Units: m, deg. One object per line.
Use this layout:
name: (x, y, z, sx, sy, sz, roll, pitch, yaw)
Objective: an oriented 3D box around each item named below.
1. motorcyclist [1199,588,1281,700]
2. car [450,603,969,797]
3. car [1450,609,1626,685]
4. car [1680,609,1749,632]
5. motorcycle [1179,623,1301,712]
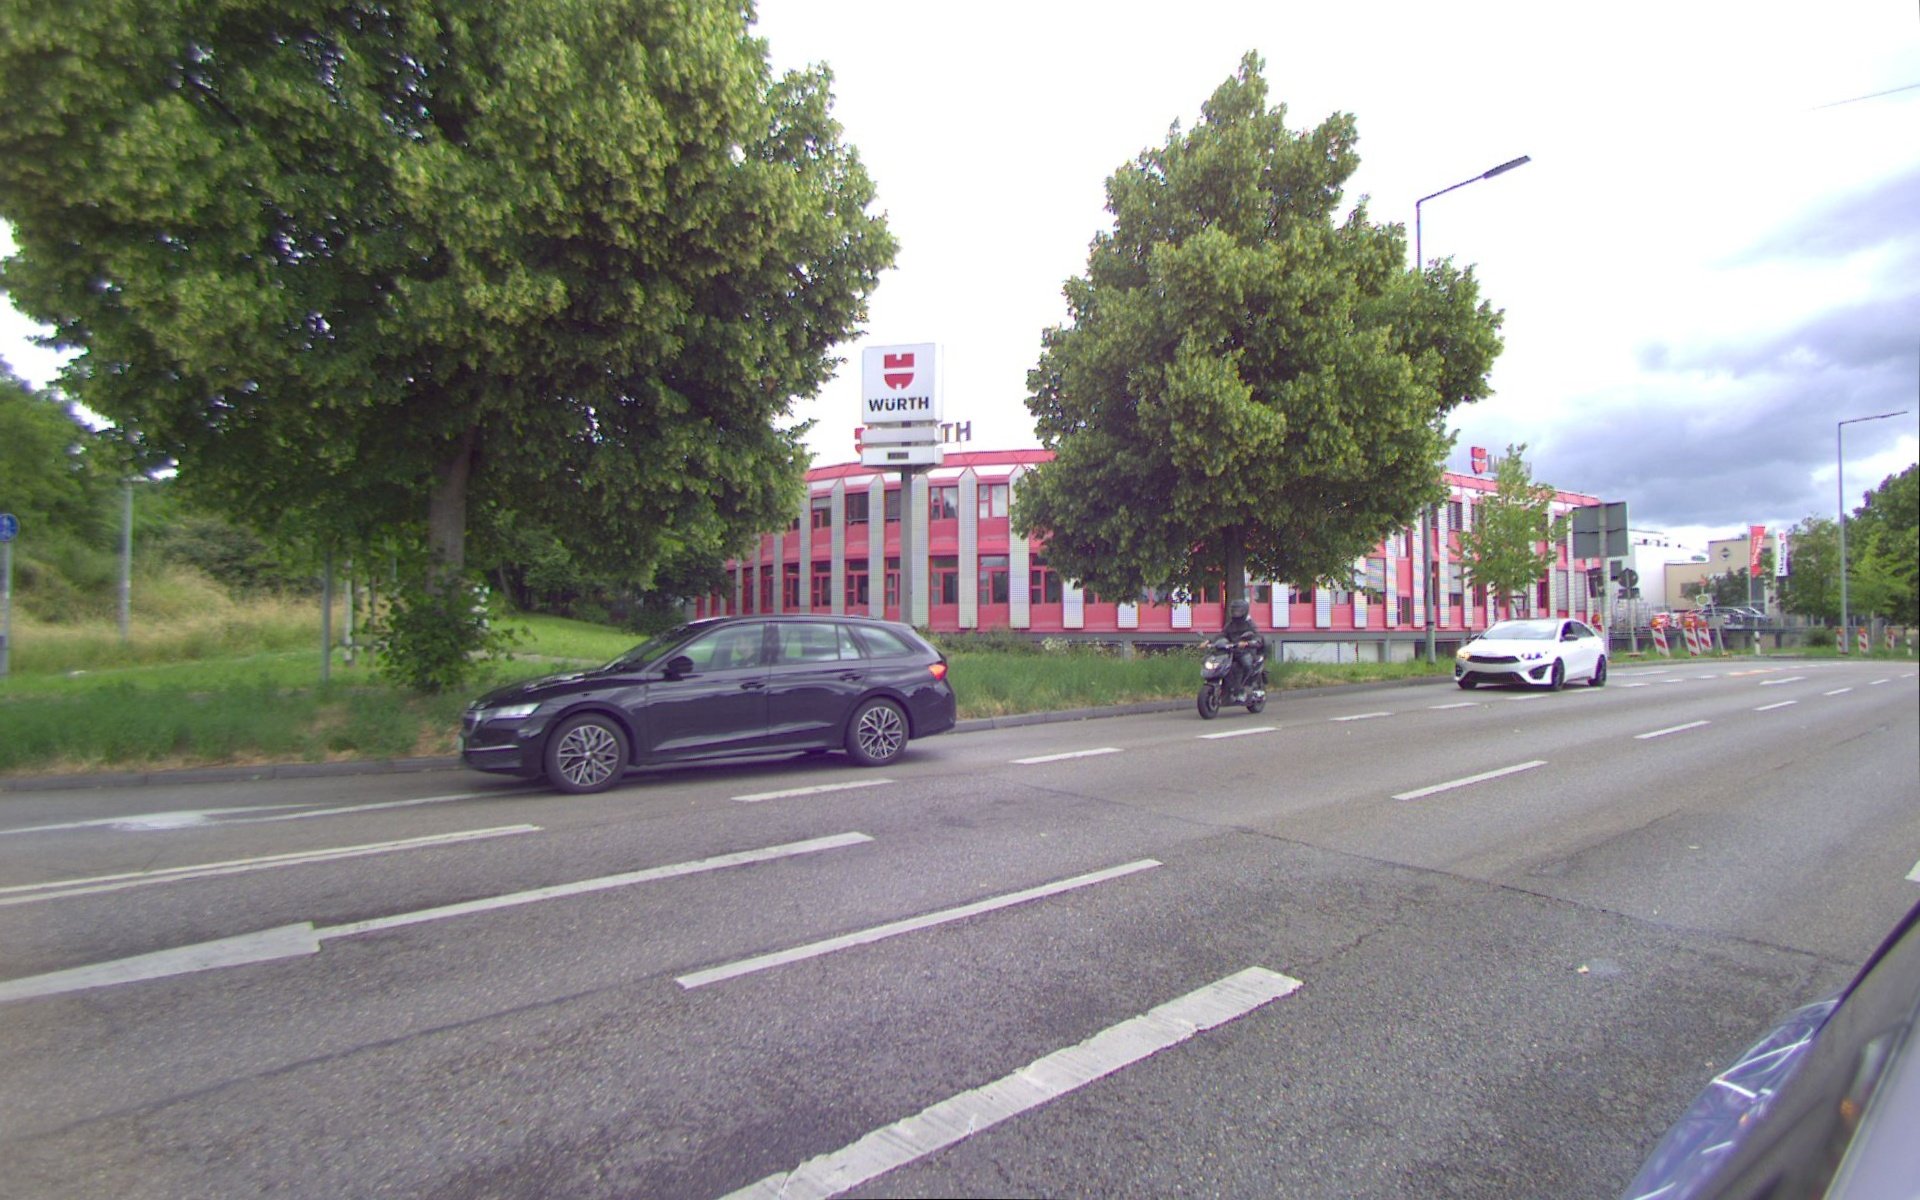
motorcyclist: (3.948, 0.615, 14.266, 0.918, 1.510, 0.748, 2, -3, -44)
car: (-2.271, 0.795, 9.585, 4.439, 1.465, 1.787, 0, -3, -32)
car: (11.740, 0.924, 20.441, 4.401, 1.380, 1.783, 2, -3, -42)
car: (61.802, 1.689, 82.949, 1.752, 1.776, 4.247, 0, 0, -39)
motorcycle: (3.963, 0.918, 14.263, 1.909, 1.162, 0.748, 2, -3, -42)
